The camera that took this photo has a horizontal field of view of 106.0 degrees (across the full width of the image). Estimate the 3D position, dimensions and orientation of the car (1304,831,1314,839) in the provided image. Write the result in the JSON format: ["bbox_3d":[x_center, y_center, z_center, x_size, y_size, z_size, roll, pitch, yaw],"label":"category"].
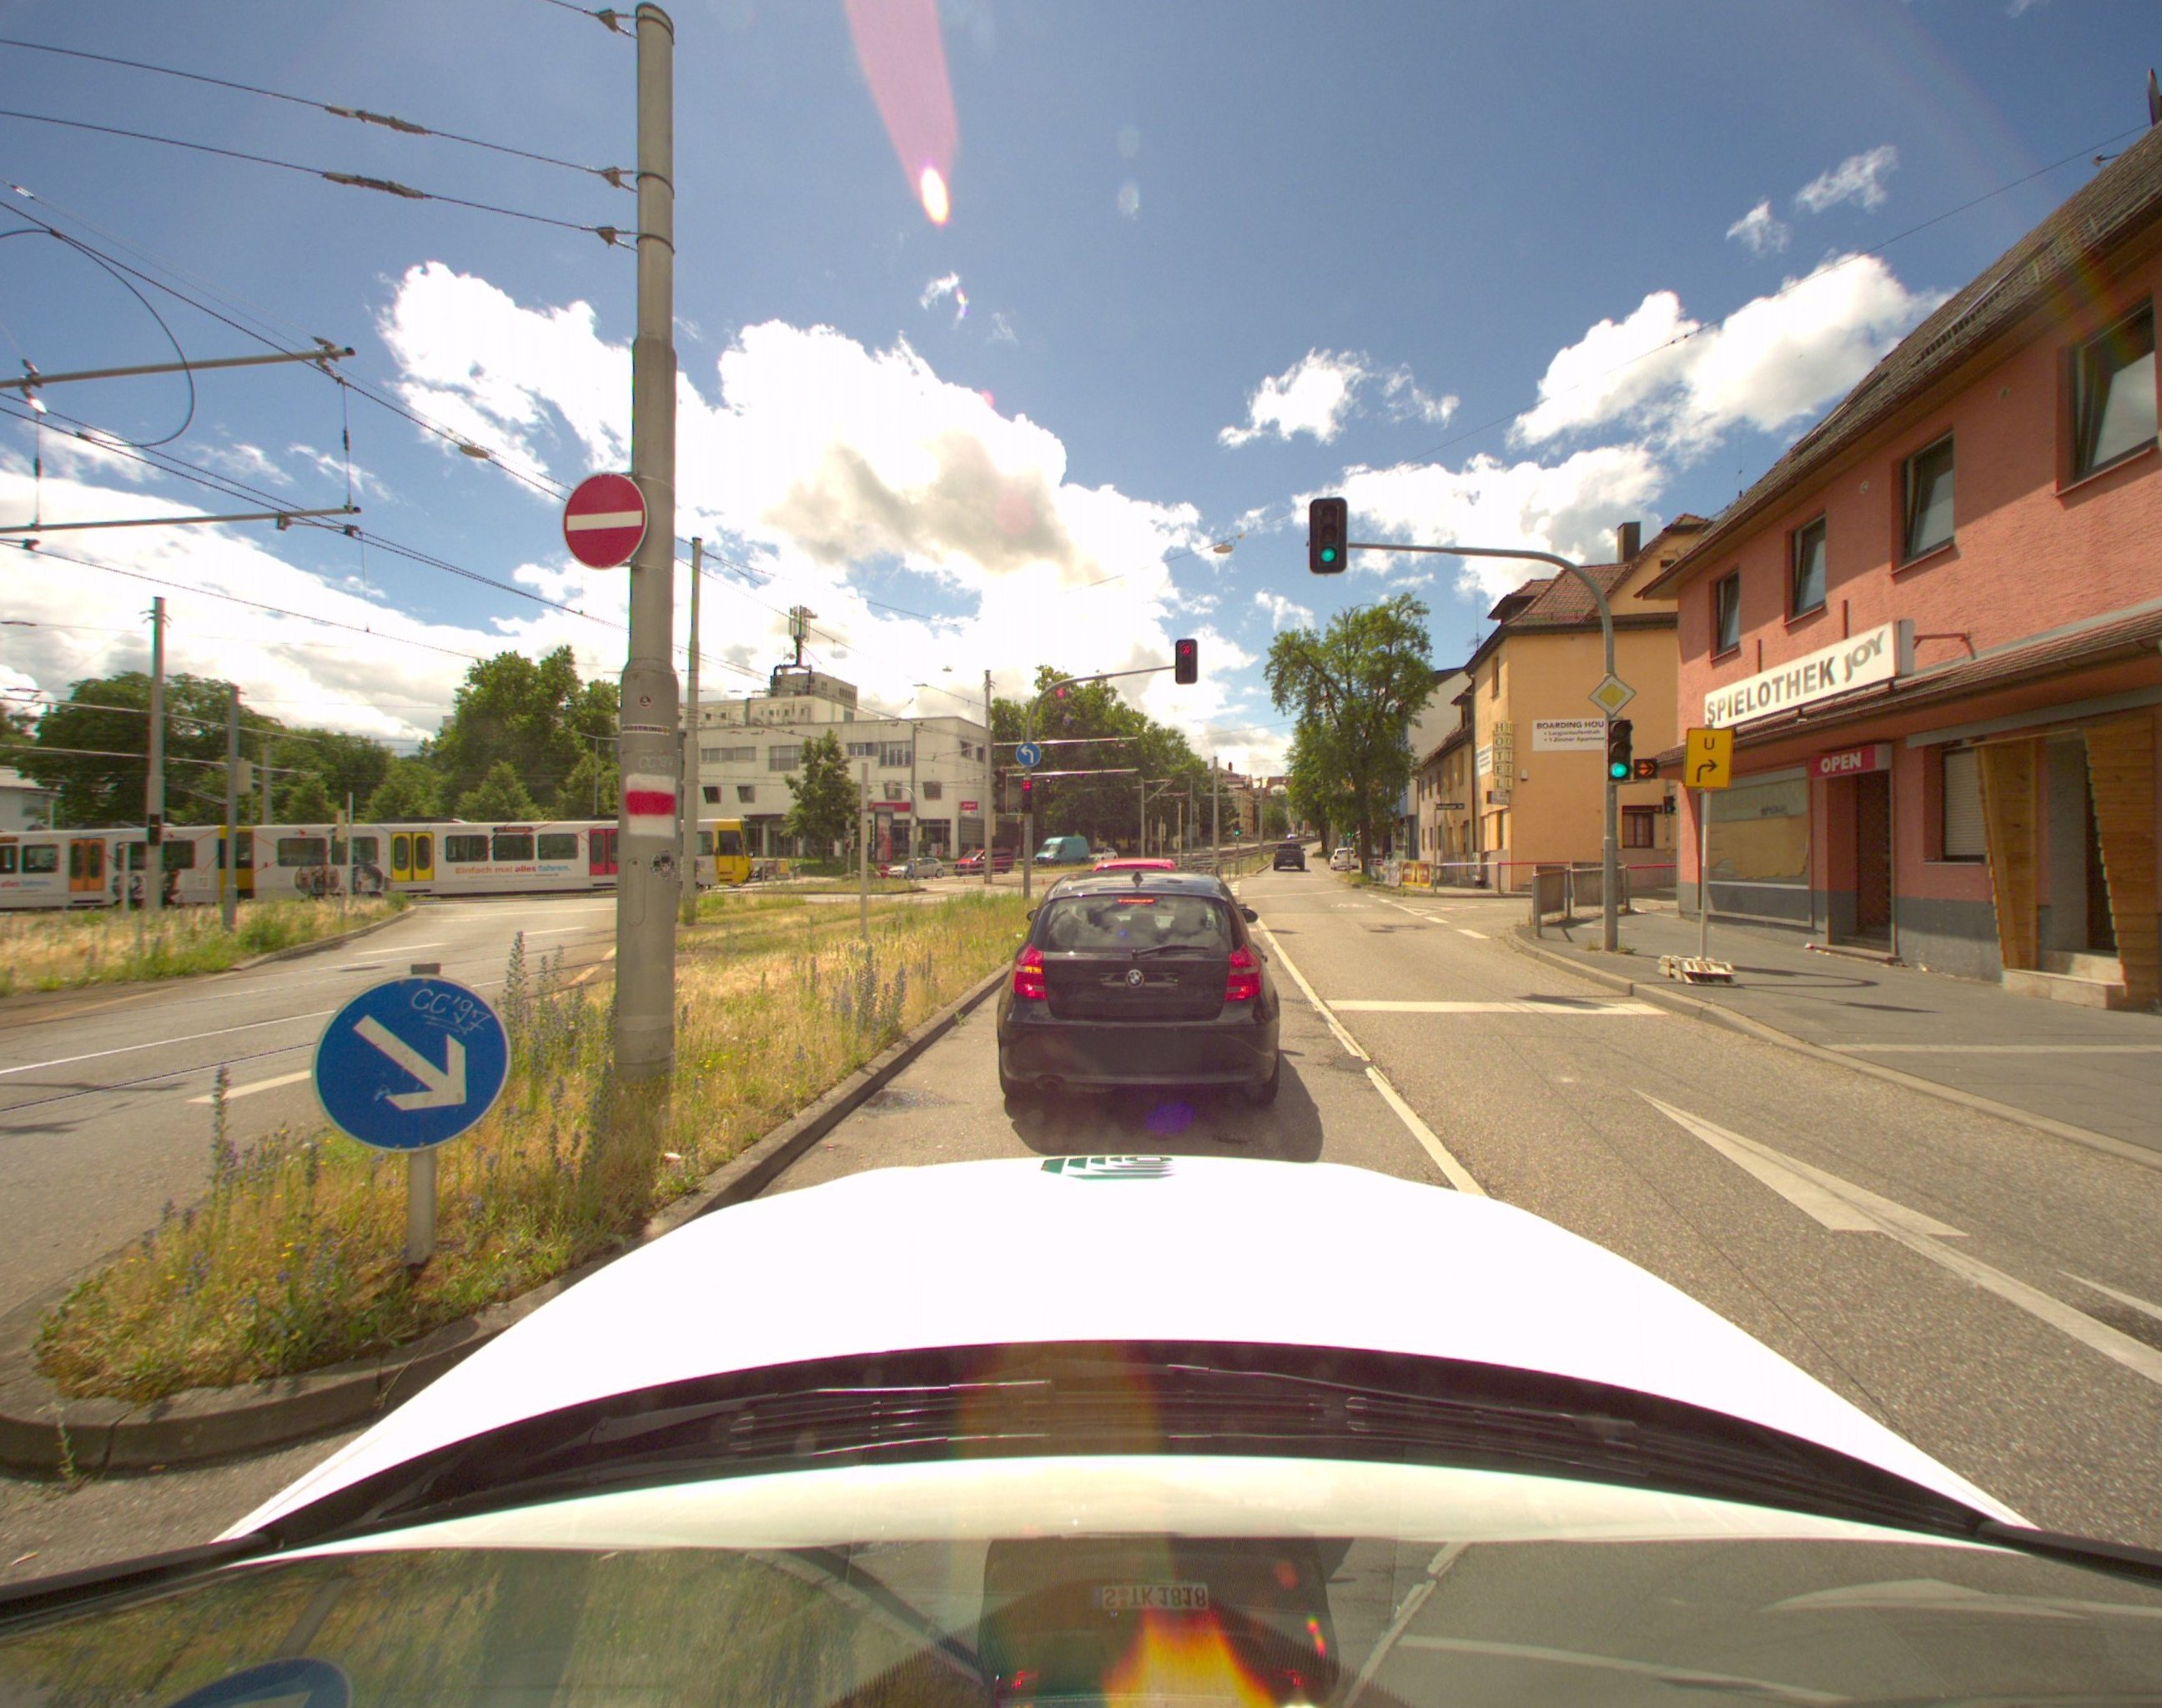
[{"bbox_3d":[57.709,-4.791,206.017,1.976,2.014,4.022,-2,-1,23],"label":"car"}]

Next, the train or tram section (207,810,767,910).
[{"bbox_3d":[-24.989,0.084,36.670,20.049,3.814,3.737,-1,-1,-20],"label":"train or tram section"}]

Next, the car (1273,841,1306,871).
[{"bbox_3d":[13.912,0.138,54.411,1.984,1.887,5.170,-2,-1,15],"label":"car"}]

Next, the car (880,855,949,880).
[{"bbox_3d":[-11.268,0.913,55.304,1.835,1.585,4.194,-3,-1,45],"label":"car"}]

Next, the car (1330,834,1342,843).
[{"bbox_3d":[50.560,-3.105,161.242,1.977,1.662,4.020,-2,-1,20],"label":"car"}]

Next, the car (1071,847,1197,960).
[{"bbox_3d":[0.983,0.695,12.897,1.616,1.473,4.009,-2,-1,8],"label":"car"}]

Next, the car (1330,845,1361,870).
[{"bbox_3d":[18.028,0.219,55.612,1.774,1.596,4.016,-2,-1,15],"label":"car"}]

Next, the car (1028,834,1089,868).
[{"bbox_3d":[-1.786,-0.239,67.989,2.110,2.654,5.726,-2,-1,33],"label":"car"}]

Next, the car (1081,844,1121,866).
[{"bbox_3d":[1.858,0.100,73.983,1.836,1.928,4.824,-2,-1,24],"label":"car"}]

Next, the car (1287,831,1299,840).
[{"bbox_3d":[48.670,-4.251,186.913,1.976,2.014,4.022,-2,-1,23],"label":"car"}]

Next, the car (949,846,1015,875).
[{"bbox_3d":[-7.268,0.434,60.016,1.835,2.009,4.828,-3,-1,40],"label":"car"}]

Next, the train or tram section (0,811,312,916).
[{"bbox_3d":[-44.051,0.593,34.124,20.487,3.879,3.763,-2,-1,2],"label":"train or tram section"}]

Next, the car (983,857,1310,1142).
[{"bbox_3d":[0.341,0.798,6.319,1.696,1.452,3.999,-2,-1,0],"label":"car"}]
